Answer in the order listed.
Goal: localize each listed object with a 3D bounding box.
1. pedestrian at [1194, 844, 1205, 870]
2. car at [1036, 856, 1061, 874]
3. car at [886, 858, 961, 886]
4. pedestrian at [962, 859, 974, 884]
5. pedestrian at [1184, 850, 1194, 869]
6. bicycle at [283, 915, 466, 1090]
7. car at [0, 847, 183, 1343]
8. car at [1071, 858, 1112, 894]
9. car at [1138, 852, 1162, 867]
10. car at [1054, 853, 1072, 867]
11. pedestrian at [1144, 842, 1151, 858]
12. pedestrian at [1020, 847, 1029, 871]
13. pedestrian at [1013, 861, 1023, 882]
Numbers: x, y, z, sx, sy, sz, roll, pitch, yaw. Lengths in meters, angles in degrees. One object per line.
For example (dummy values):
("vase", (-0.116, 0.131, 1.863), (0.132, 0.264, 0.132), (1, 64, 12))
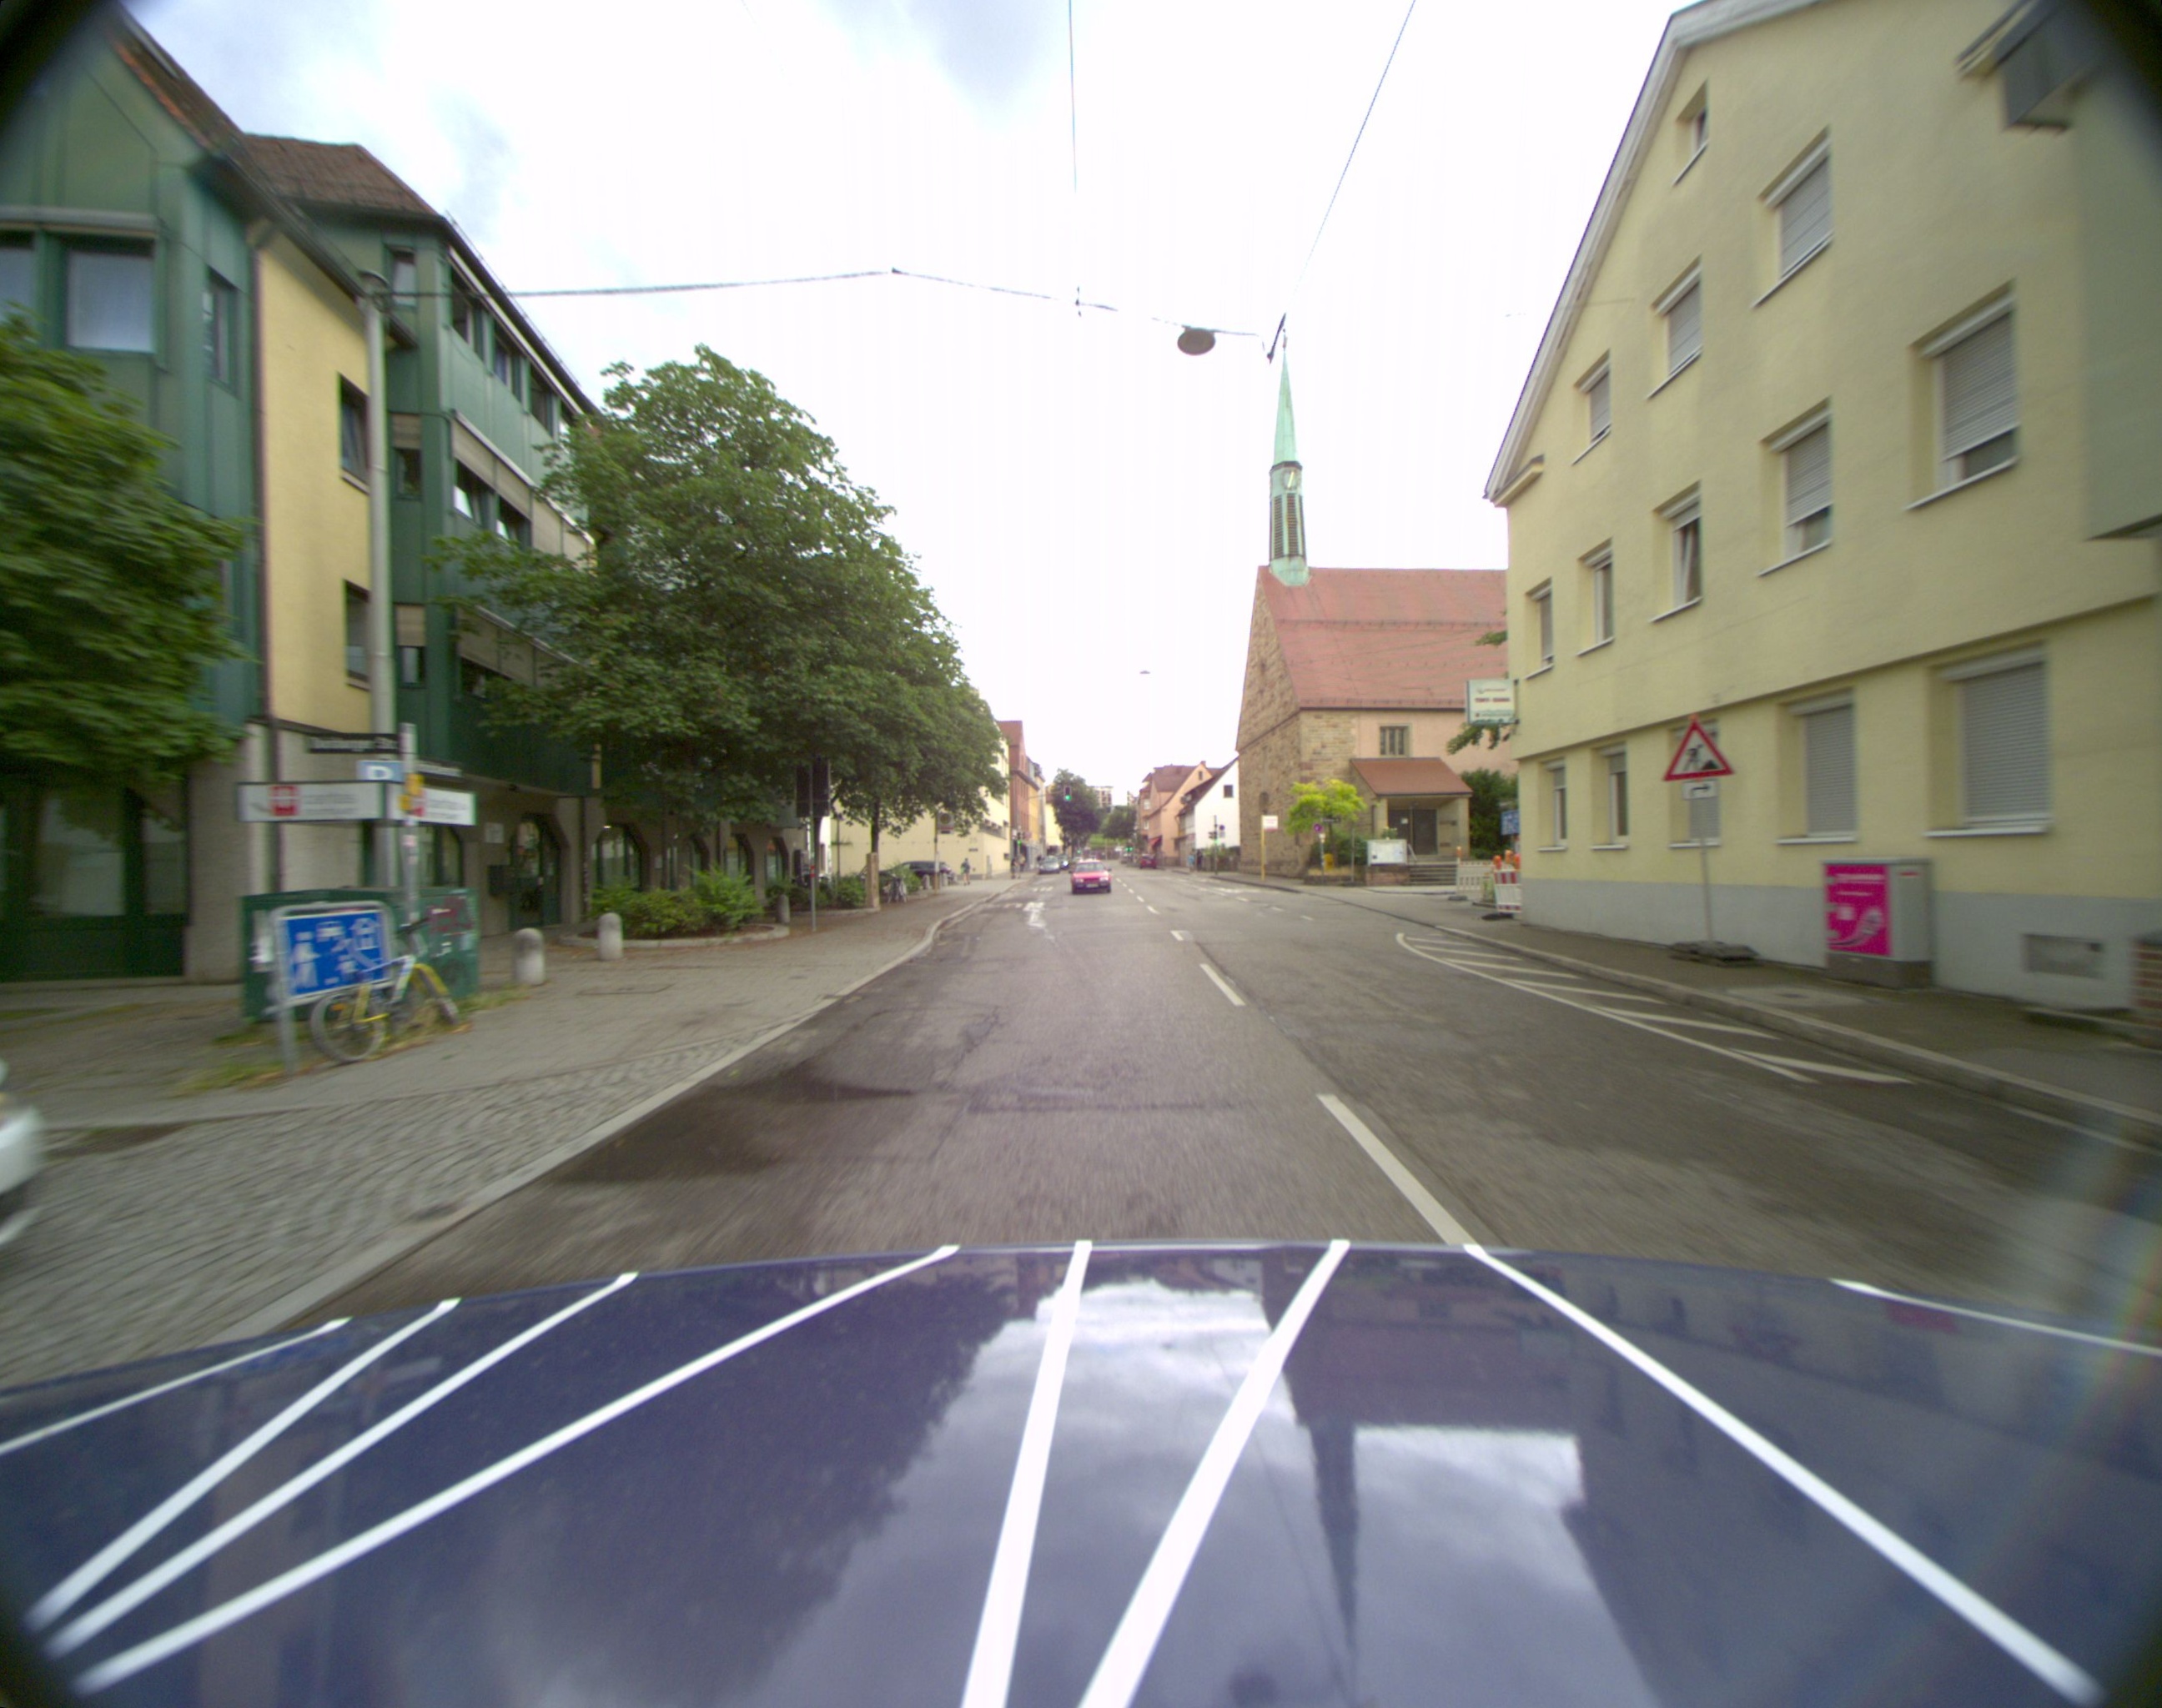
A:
("pedestrian", (9.646, 0.255, 61.759), (0.758, 2.109, 0.783), (-1, 1, 1))
("car", (-2.862, 0.940, 67.980), (2.033, 1.546, 4.000), (-1, 0, 0))
("car", (-9.406, 1.067, 45.604), (3.996, 1.455, 2.000), (-2, 1, 2))
("pedestrian", (-6.715, 1.043, 45.133), (0.599, 1.435, 0.772), (-1, 1, -1))
("pedestrian", (8.820, 0.441, 62.014), (0.637, 1.596, 0.711), (-1, 1, 1))
("bicycle", (-6.214, 1.241, 6.778), (0.402, 1.251, 1.431), (-1, 1, -8))
("car", (-6.126, 0.918, 2.235), (4.464, 1.777, 1.999), (-1, 1, -1))
("car", (0.456, 0.935, 33.909), (1.685, 1.418, 4.021), (-1, 0, 1))
("car", (7.651, 0.589, 84.373), (2.213, 1.668, 4.498), (-1, 0, -1))
("car", (-1.954, 0.646, 83.854), (1.822, 1.380, 4.000), (-1, 0, 0))
("pedestrian", (8.673, -0.551, 99.298), (0.836, 2.002, 0.845), (-2, 0, 5))
("pedestrian", (-4.956, 0.435, 66.668), (0.660, 2.102, 0.646), (0, -1, 0))
("pedestrian", (-4.356, 1.232, 52.761), (0.599, 1.435, 0.772), (-1, 1, -2))
